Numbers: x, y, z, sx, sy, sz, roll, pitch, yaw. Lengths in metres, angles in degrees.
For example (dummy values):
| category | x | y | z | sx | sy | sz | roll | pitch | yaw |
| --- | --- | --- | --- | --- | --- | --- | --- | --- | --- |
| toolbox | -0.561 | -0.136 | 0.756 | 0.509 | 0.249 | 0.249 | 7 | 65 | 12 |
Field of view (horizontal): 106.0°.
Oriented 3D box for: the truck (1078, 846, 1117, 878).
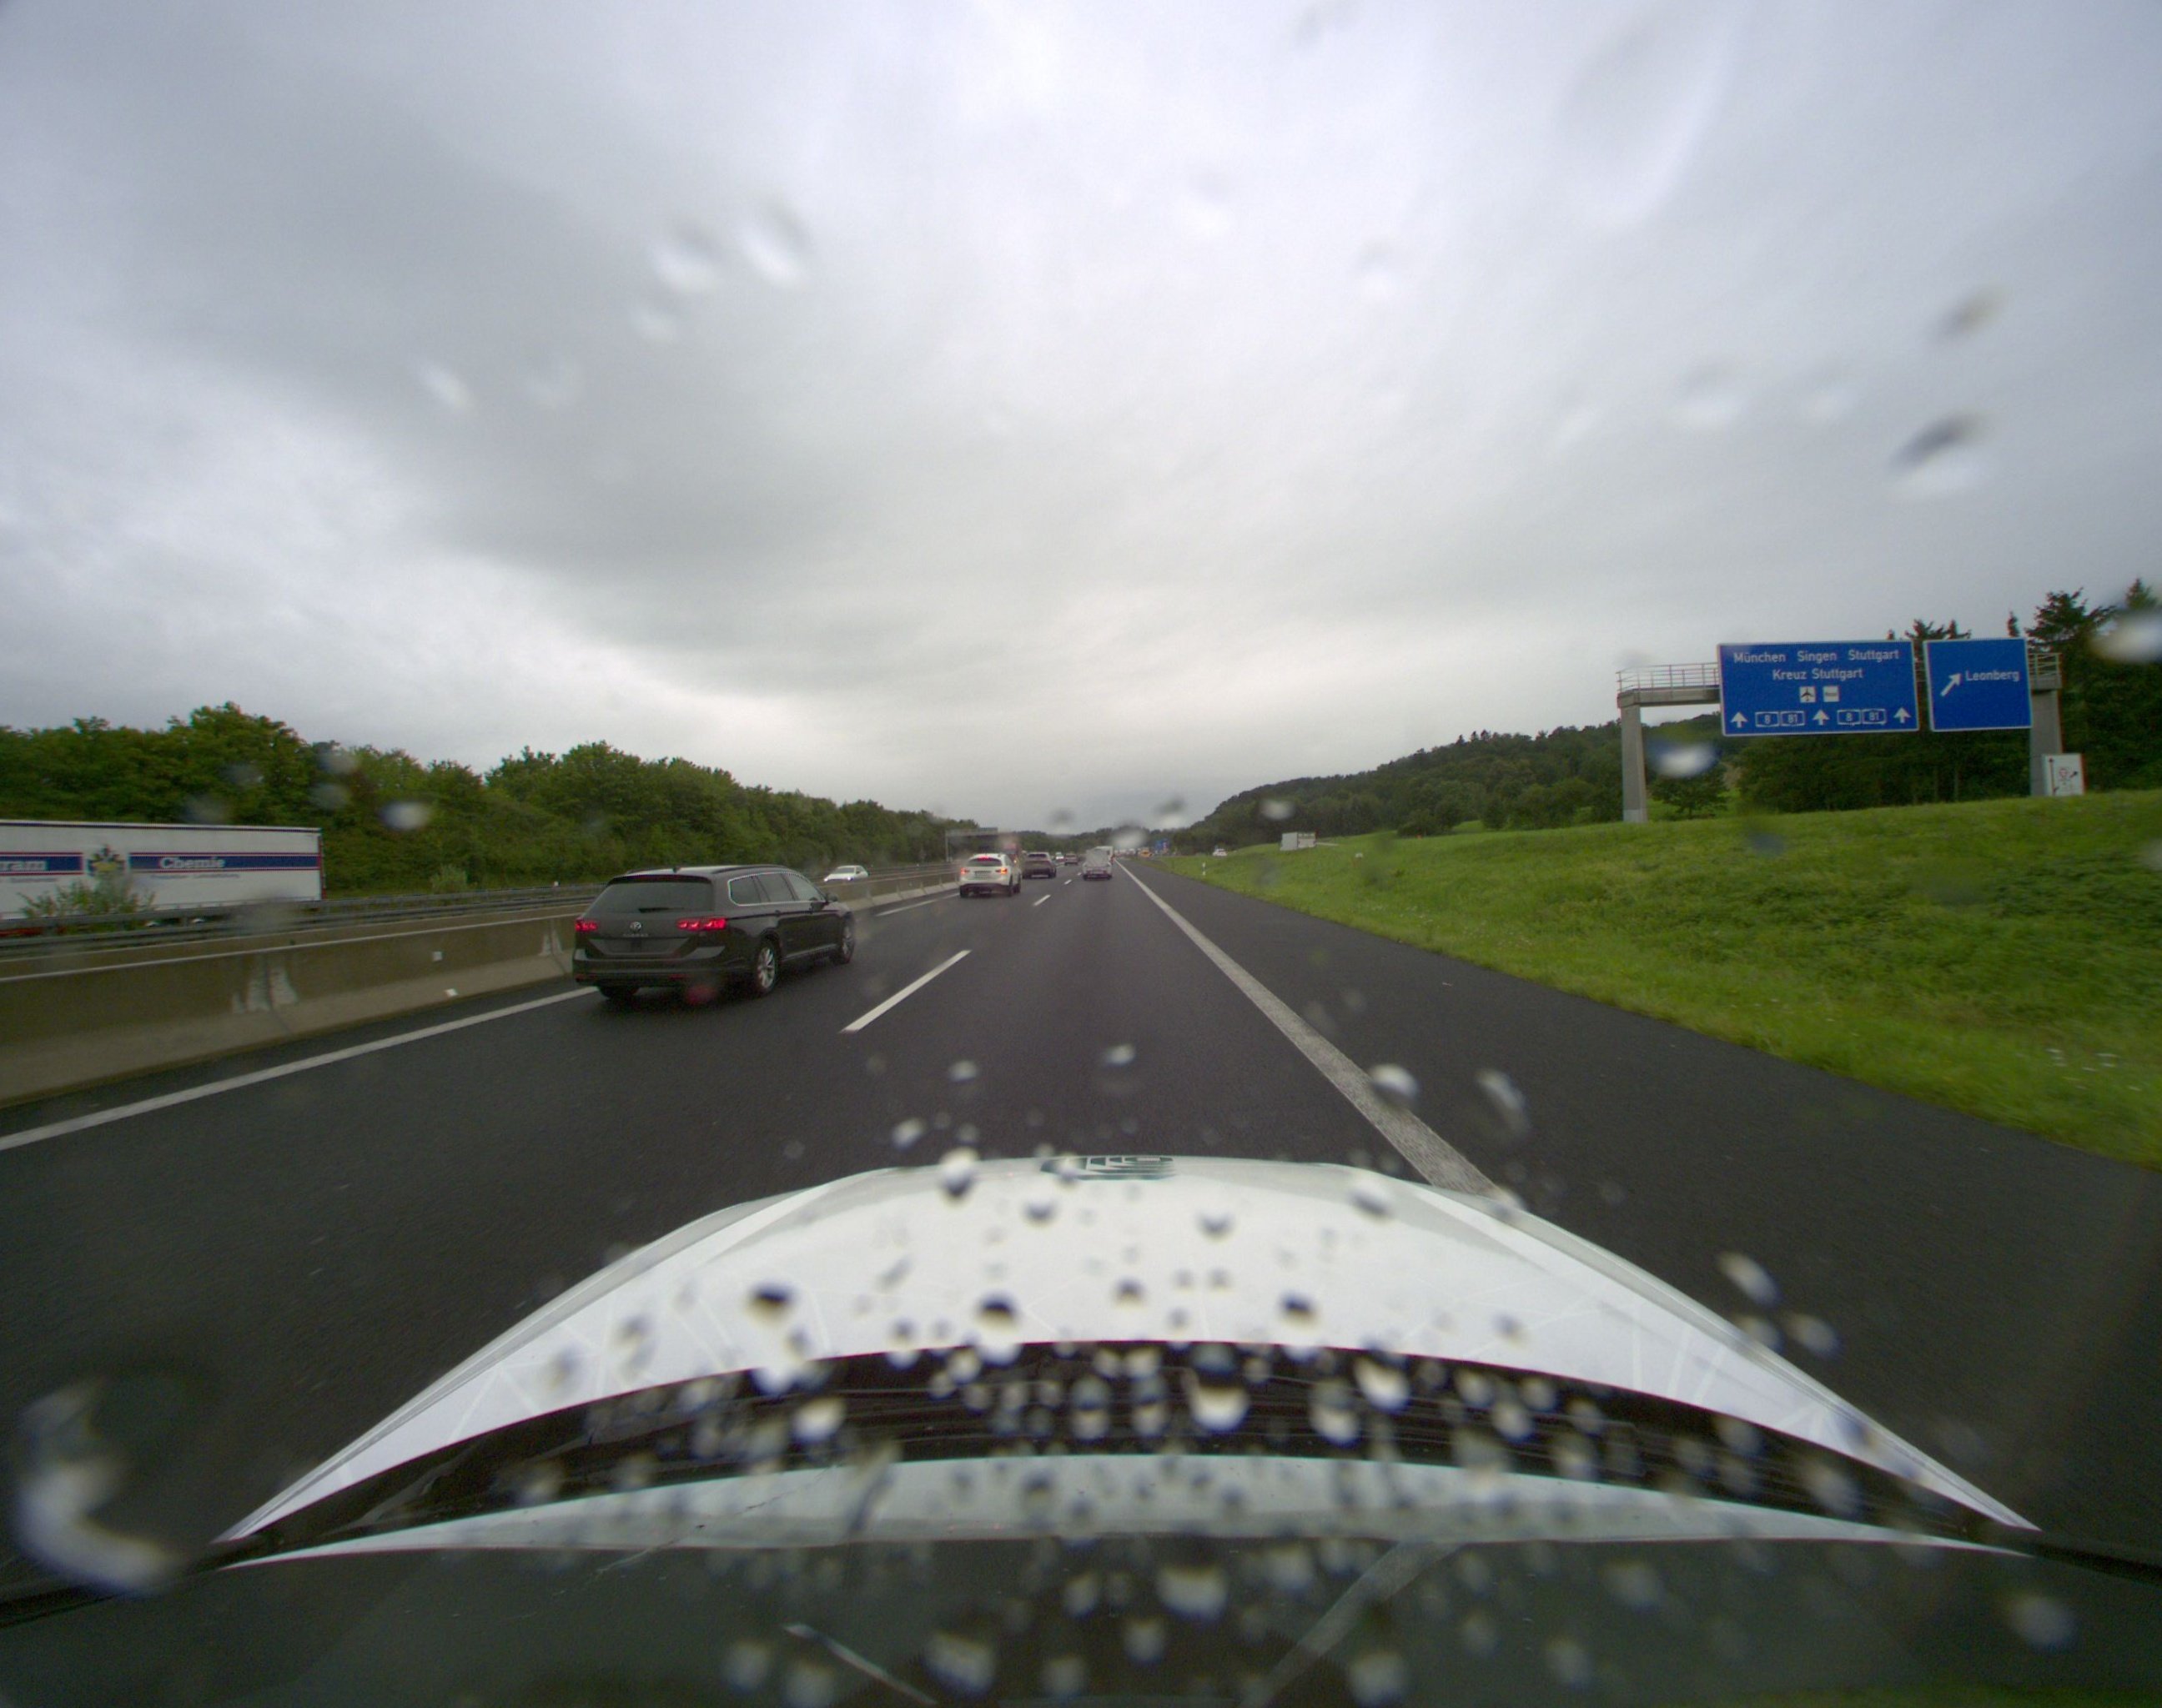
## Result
| category | x | y | z | sx | sy | sz | roll | pitch | yaw |
| --- | --- | --- | --- | --- | --- | --- | --- | --- | --- |
| truck | 1.037 | 0.479 | 50.734 | 2.234 | 1.839 | 6.586 | -1 | 0 | 1 |

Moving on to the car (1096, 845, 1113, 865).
| category | x | y | z | sx | sy | sz | roll | pitch | yaw |
| --- | --- | --- | --- | --- | --- | --- | --- | --- | --- |
| car | 3.359 | 0.128 | 115.595 | 2.323 | 2.725 | 6.542 | -1 | 0 | 1 |

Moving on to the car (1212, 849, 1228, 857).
| category | x | y | z | sx | sy | sz | roll | pitch | yaw |
| --- | --- | --- | --- | --- | --- | --- | --- | --- | --- |
| car | 25.218 | -0.180 | 147.907 | 1.989 | 1.552 | 3.995 | 0 | 0 | -3 |

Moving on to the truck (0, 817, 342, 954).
| category | x | y | z | sx | sy | sz | roll | pitch | yaw |
| --- | --- | --- | --- | --- | --- | --- | --- | --- | --- |
| truck | -31.551 | 0.933 | 24.064 | 3.165 | 3.808 | 17.143 | -2 | 0 | 2 |

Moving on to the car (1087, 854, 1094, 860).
| category | x | y | z | sx | sy | sz | roll | pitch | yaw |
| --- | --- | --- | --- | --- | --- | --- | --- | --- | --- |
| car | 2.320 | 0.760 | 201.628 | 1.639 | 1.574 | 4.002 | 0 | 0 | 2 |

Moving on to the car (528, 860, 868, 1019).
| category | x | y | z | sx | sy | sz | roll | pitch | yaw |
| --- | --- | --- | --- | --- | --- | --- | --- | --- | --- |
| car | -4.290 | 0.842 | 10.181 | 1.780 | 1.459 | 4.805 | -1 | 0 | 2 |

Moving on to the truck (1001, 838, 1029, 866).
| category | x | y | z | sx | sy | sz | roll | pitch | yaw |
| --- | --- | --- | --- | --- | --- | --- | --- | --- | --- |
| truck | -11.780 | -0.310 | 146.346 | 3.385 | 4.733 | 10.495 | -1 | 0 | 3 |

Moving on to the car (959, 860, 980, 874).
| category | x | y | z | sx | sy | sz | roll | pitch | yaw |
| --- | --- | --- | --- | --- | --- | --- | --- | --- | --- |
| car | -13.094 | 1.524 | 96.028 | 1.718 | 1.552 | 4.583 | -1 | 0 | 1 |

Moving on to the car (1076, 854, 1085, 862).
| category | x | y | z | sx | sy | sz | roll | pitch | yaw |
| --- | --- | --- | --- | --- | --- | --- | --- | --- | --- |
| car | -0.034 | 0.728 | 159.874 | 1.639 | 1.574 | 4.002 | 0 | 0 | 2 |

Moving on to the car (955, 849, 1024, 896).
| category | x | y | z | sx | sy | sz | roll | pitch | yaw |
| --- | --- | --- | --- | --- | --- | --- | --- | --- | --- |
| car | -3.506 | 0.678 | 32.033 | 2.041 | 1.670 | 4.542 | -1 | 0 | 1 |

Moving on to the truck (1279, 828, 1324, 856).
| category | x | y | z | sx | sy | sz | roll | pitch | yaw |
| --- | --- | --- | --- | --- | --- | --- | --- | --- | --- |
| truck | 30.899 | -1.610 | 114.419 | 3.815 | 3.659 | 8.265 | 0 | 0 | -2 |

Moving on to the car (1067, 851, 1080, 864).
| category | x | y | z | sx | sy | sz | roll | pitch | yaw |
| --- | --- | --- | --- | --- | --- | --- | --- | --- | --- |
| car | -1.035 | 0.471 | 115.128 | 1.732 | 1.794 | 4.001 | -1 | 0 | 2 |

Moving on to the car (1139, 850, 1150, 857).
| category | x | y | z | sx | sy | sz | roll | pitch | yaw |
| --- | --- | --- | --- | --- | --- | --- | --- | --- | --- |
| car | 15.149 | -0.045 | 193.962 | 1.989 | 1.552 | 3.995 | 0 | 0 | -3 |

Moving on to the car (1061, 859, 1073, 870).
| category | x | y | z | sx | sy | sz | roll | pitch | yaw |
| --- | --- | --- | --- | --- | --- | --- | --- | --- | --- |
| car | -2.363 | 1.736 | 138.075 | 1.812 | 1.662 | 4.019 | -2 | 0 | 2 |

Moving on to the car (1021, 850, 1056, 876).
| category | x | y | z | sx | sy | sz | roll | pitch | yaw |
| --- | --- | --- | --- | --- | --- | --- | --- | --- | --- |
| car | -2.800 | 0.581 | 54.495 | 1.968 | 1.703 | 4.804 | -1 | 0 | 1 |

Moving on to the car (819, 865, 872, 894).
| category | x | y | z | sx | sy | sz | roll | pitch | yaw |
| --- | --- | --- | --- | --- | --- | --- | --- | --- | --- |
| car | -14.983 | 1.612 | 52.074 | 1.986 | 1.662 | 4.315 | -2 | 0 | 2 |
